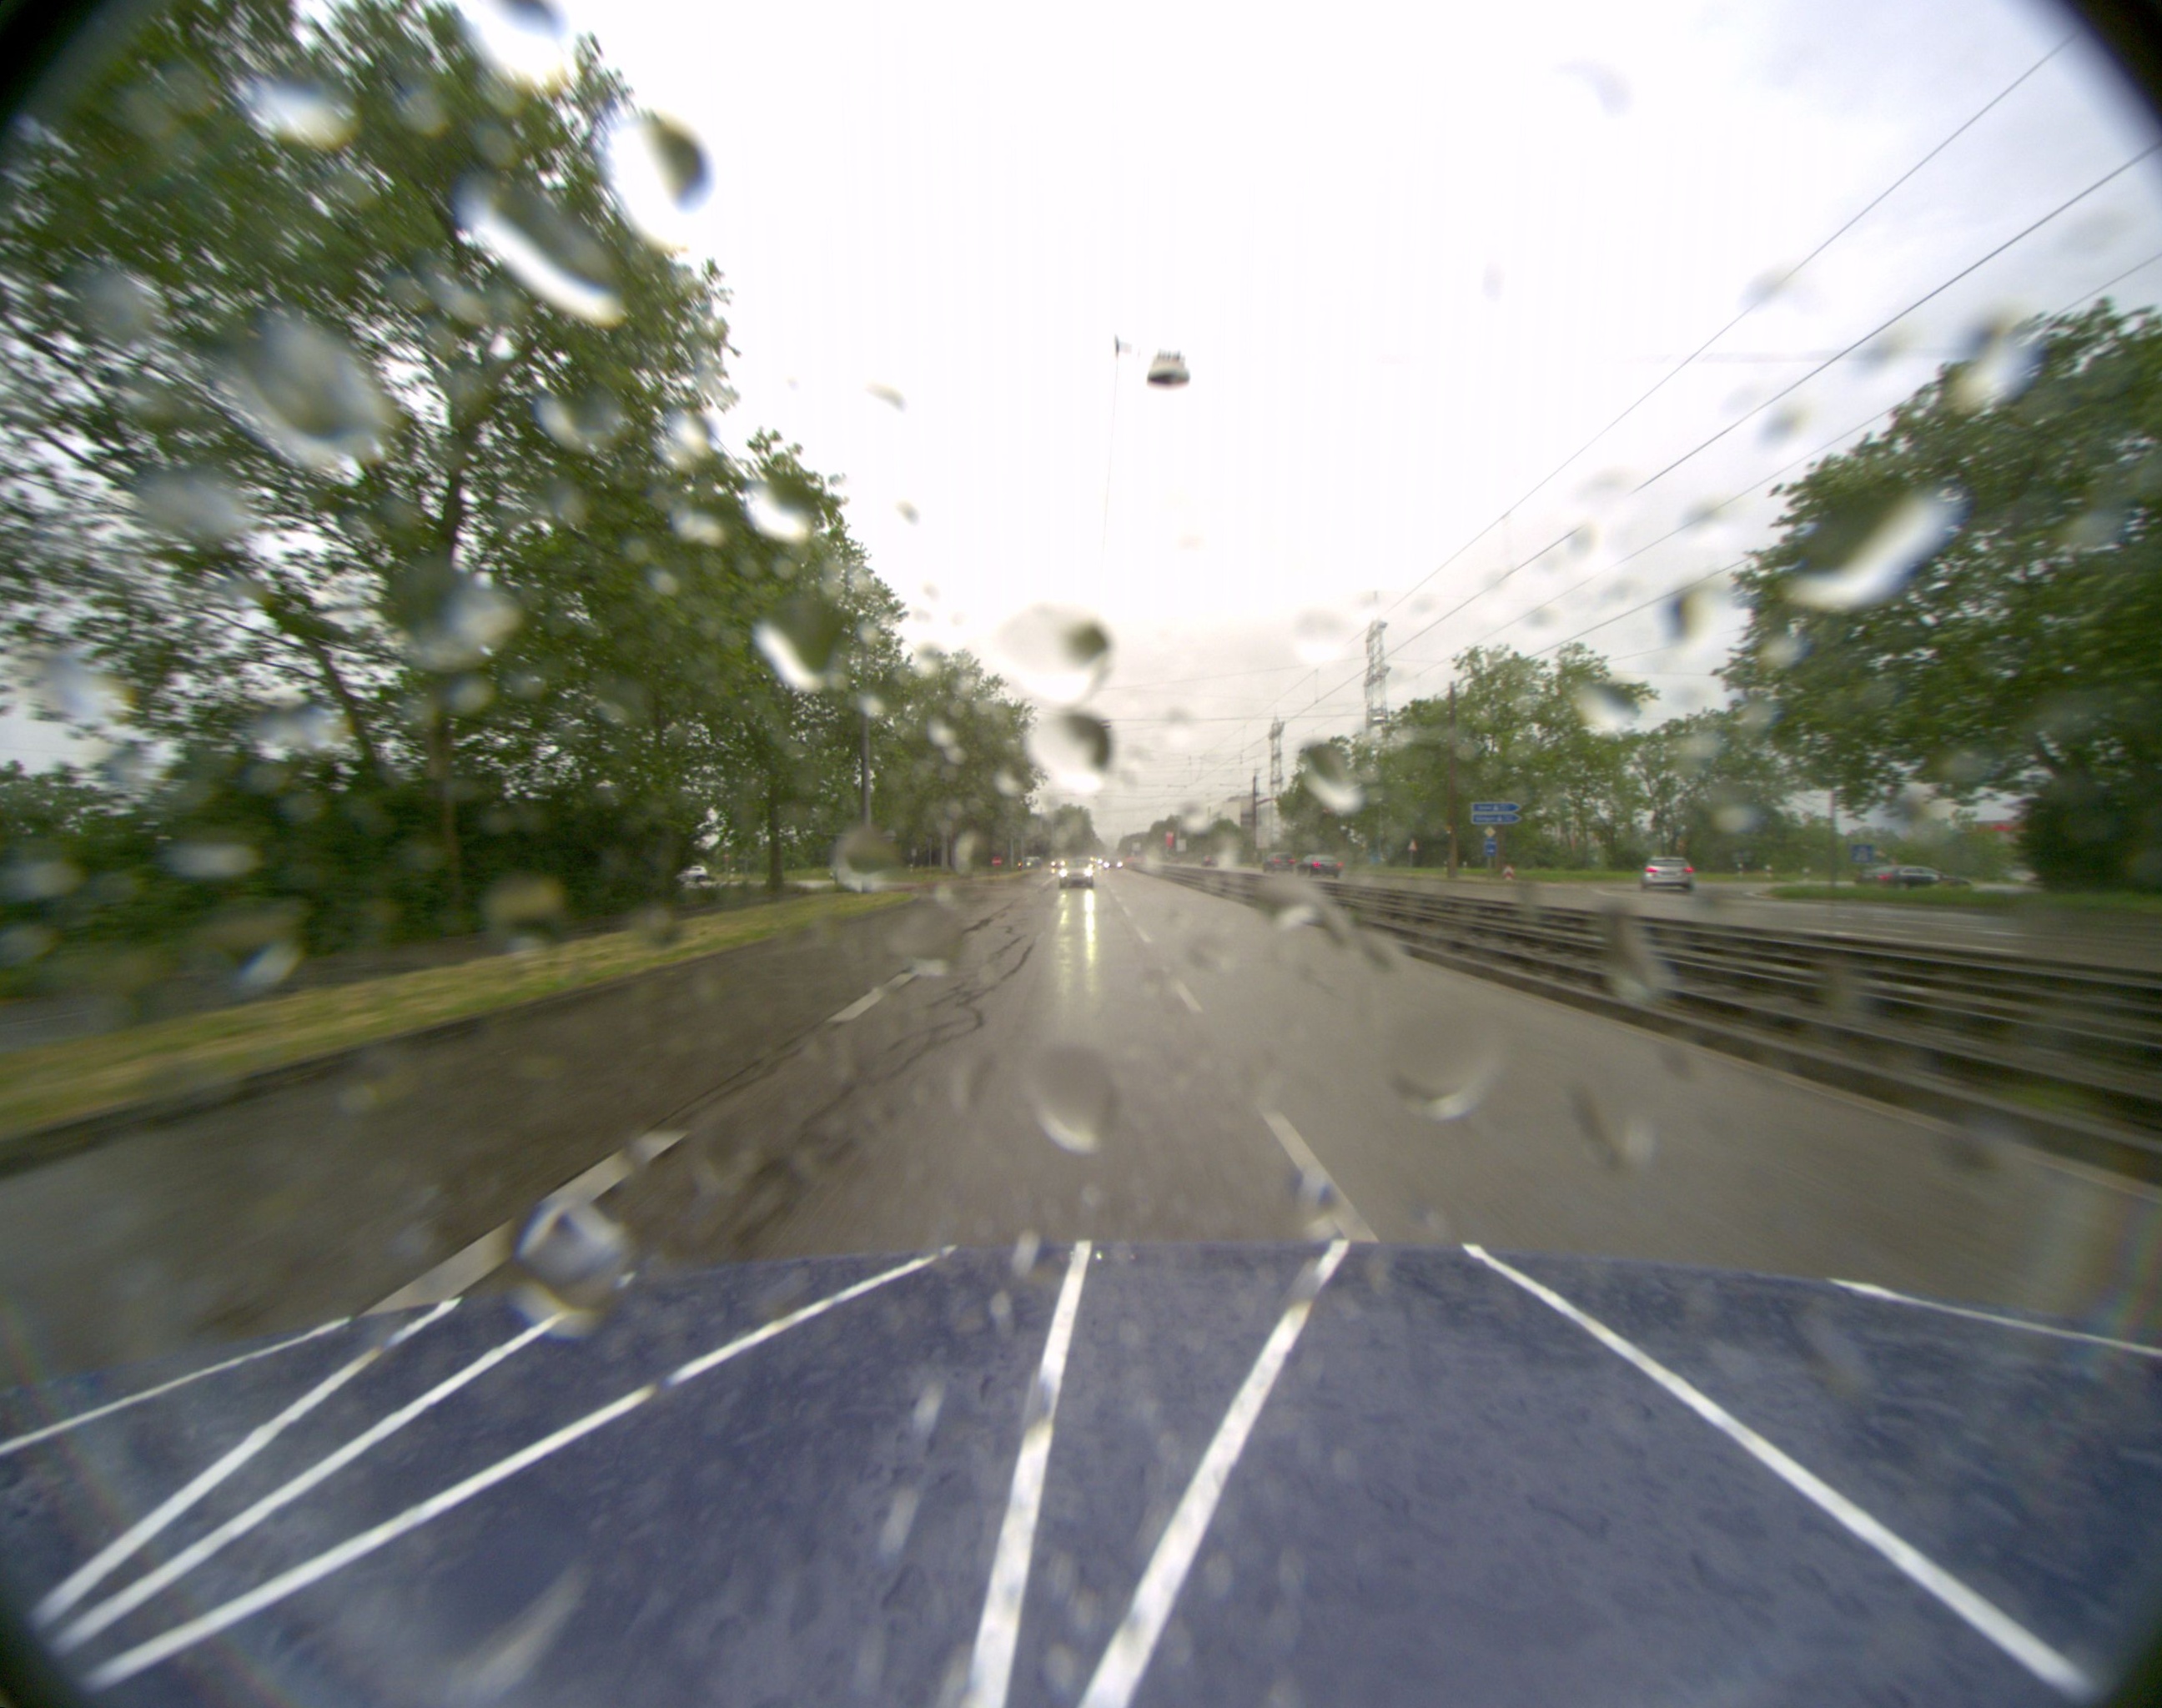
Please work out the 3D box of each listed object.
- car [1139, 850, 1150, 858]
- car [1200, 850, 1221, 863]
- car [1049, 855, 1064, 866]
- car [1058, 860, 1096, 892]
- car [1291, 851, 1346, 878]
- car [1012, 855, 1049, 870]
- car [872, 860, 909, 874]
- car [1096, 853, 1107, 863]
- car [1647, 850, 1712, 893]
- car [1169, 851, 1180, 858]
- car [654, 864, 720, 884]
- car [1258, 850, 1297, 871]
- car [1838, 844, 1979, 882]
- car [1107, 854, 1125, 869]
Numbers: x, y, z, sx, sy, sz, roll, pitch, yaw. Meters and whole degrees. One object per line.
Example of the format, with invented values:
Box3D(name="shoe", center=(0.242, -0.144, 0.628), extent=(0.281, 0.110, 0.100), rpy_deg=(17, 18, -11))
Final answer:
Box3D(name="car", center=(14.696, 0.020, 175.796), extent=(1.892, 1.798, 5.004), rpy_deg=(-2, -1, -1))
Box3D(name="car", center=(17.130, 0.351, 100.627), extent=(1.795, 1.540, 5.313), rpy_deg=(-2, -1, 0))
Box3D(name="car", center=(-3.437, 0.901, 107.401), extent=(1.783, 1.419, 4.001), rpy_deg=(-1, -1, 2))
Box3D(name="car", center=(-0.182, 1.114, 39.069), extent=(1.807, 1.521, 3.646), rpy_deg=(-2, -1, 0))
Box3D(name="car", center=(15.360, 0.696, 49.515), extent=(1.780, 1.575, 5.682), rpy_deg=(-2, -1, 0))
Box3D(name="car", center=(-6.157, 1.060, 92.956), extent=(1.794, 1.692, 4.773), rpy_deg=(-2, -1, 35))
Box3D(name="car", center=(-19.013, 1.305, 75.794), extent=(1.595, 1.258, 3.228), rpy_deg=(-3, -1, 44))
Box3D(name="car", center=(3.445, 0.719, 127.960), extent=(1.807, 1.521, 3.646), rpy_deg=(-2, -1, 0))
Box3D(name="car", center=(26.559, 0.746, 33.638), extent=(1.820, 1.695, 5.031), rpy_deg=(-3, -1, 43))
Box3D(name="car", center=(19.666, 0.103, 159.934), extent=(1.693, 1.542, 4.000), rpy_deg=(-2, -1, 0))
Box3D(name="car", center=(-32.935, 1.663, 63.622), extent=(4.615, 1.494, 1.627), rpy_deg=(-1, -1, -39))
Box3D(name="car", center=(16.957, 0.551, 65.804), extent=(1.824, 1.695, 6.105), rpy_deg=(-2, -1, 1))
Box3D(name="car", center=(43.695, 0.481, 40.237), extent=(4.757, 1.787, 2.091), rpy_deg=(-2, -1, 8))
Box3D(name="car", center=(3.863, 0.847, 85.225), extent=(1.807, 1.521, 3.646), rpy_deg=(-2, -1, 0))
